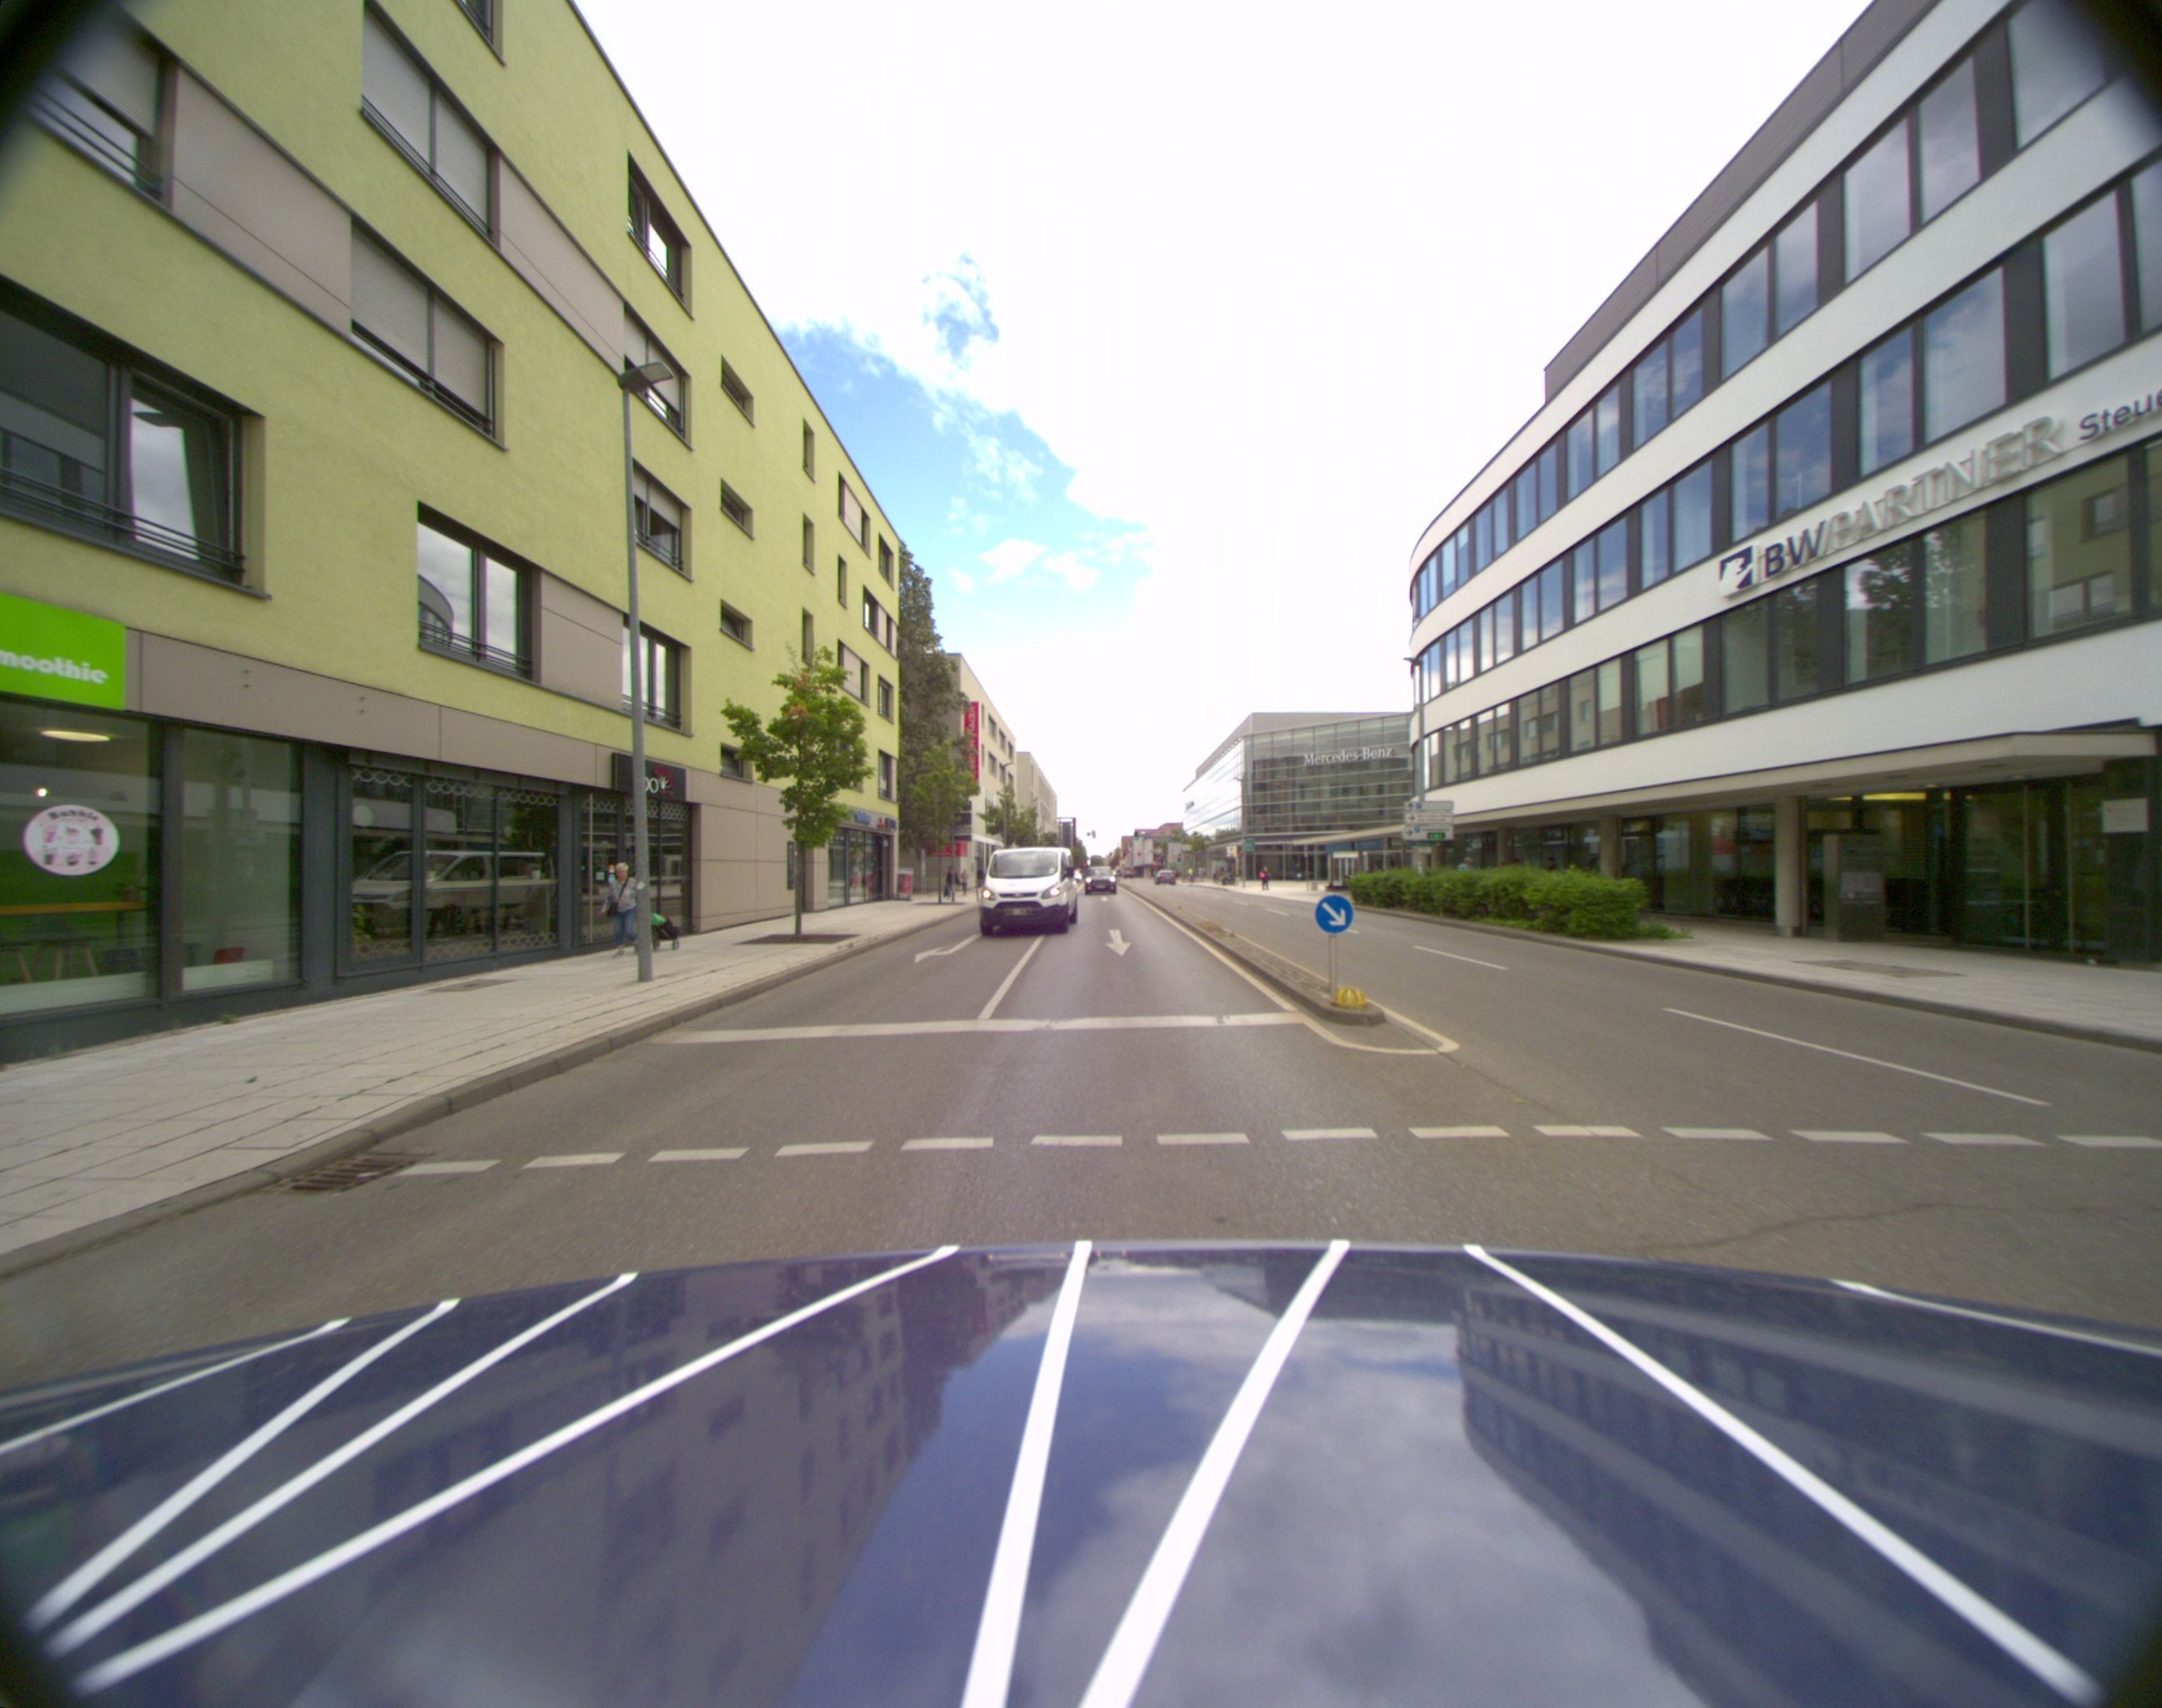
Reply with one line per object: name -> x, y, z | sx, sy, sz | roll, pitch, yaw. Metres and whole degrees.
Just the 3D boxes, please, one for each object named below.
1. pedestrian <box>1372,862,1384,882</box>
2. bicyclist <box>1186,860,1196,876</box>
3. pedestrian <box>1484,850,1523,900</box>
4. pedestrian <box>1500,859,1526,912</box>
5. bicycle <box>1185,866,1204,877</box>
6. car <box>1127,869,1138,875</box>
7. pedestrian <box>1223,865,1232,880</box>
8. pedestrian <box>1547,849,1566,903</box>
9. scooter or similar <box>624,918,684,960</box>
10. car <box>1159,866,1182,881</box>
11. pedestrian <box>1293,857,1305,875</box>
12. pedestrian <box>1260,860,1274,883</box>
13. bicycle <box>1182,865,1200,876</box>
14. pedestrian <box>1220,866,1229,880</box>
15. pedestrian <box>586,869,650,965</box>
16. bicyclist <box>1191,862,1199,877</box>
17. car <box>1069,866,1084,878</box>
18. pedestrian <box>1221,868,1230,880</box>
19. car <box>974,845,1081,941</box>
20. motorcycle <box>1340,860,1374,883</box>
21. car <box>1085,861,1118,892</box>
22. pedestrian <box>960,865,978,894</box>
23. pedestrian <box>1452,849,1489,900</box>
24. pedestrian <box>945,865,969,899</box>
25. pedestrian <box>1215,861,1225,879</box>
pedestrian -> 29.090, 1.742, 74.438 | 0.686, 1.934, 0.749 | -2, 0, -12
bicyclist -> 13.067, 1.676, 90.344 | 0.749, 1.789, 0.772 | -2, -1, -44
pedestrian -> 13.915, 0.687, 25.050 | 0.732, 1.603, 0.931 | -2, 0, 3
pedestrian -> 14.264, 1.031, 25.088 | 0.616, 1.699, 0.505 | 0, 0, -29
bicycle -> 13.076, 2.042, 87.527 | 2.002, 1.123, 0.639 | -3, -1, 17
car -> 10.870, 3.818, 161.525 | 1.803, 1.458, 3.999 | 0, -1, -4
pedestrian -> 12.933, 1.616, 67.249 | 0.686, 1.312, 0.576 | 1, 0, 0
pedestrian -> 15.236, 0.705, 24.359 | 0.505, 1.719, 0.616 | 0, 0, 33
scooter or similar -> -7.660, 1.518, 13.658 | 0.593, 0.669, 0.824 | 1, 0, 1
car -> 8.902, 1.904, 75.882 | 1.901, 1.407, 4.472 | -2, -1, 2
pedestrian -> 23.043, 1.276, 80.347 | 0.904, 1.934, 0.748 | -1, 0, -37
pedestrian -> 12.719, 1.210, 52.021 | 0.832, 1.558, 0.813 | -2, 0, 7
bicycle -> 13.111, 1.980, 90.330 | 0.749, 1.198, 2.025 | -2, -1, -44
pedestrian -> 12.905, 1.682, 68.520 | 0.686, 1.246, 0.576 | 0, 0, 0
pedestrian -> -7.881, 1.058, 12.946 | 0.697, 1.584, 0.603 | 1, 0, 1
bicyclist -> 13.096, 1.787, 87.519 | 0.783, 1.639, 0.639 | -3, 0, 17
car -> -0.561, 2.274, 97.461 | 1.787, 1.417, 4.515 | -1, -1, 0
pedestrian -> 12.950, 1.769, 67.919 | 0.686, 1.069, 0.576 | 2, 0, 0
car -> -1.152, 0.874, 18.807 | 1.999, 1.975, 5.002 | -2, -1, 3
motorcycle -> 17.035, 1.072, 46.937 | 1.858, 1.325, 0.636 | -2, 0, 5
car -> 1.212, 1.230, 42.735 | 1.691, 1.550, 4.746 | -2, 0, 3
pedestrian -> -6.202, 1.425, 42.070 | 0.871, 1.574, 0.804 | 0, 0, 1
pedestrian -> 13.089, 0.680, 25.554 | 0.732, 1.664, 0.931 | -2, 0, 3
pedestrian -> -5.929, 1.325, 36.266 | 0.949, 1.574, 1.016 | 0, 0, 1
pedestrian -> 12.687, 1.487, 69.162 | 0.688, 1.621, 0.574 | 1, 0, -39
